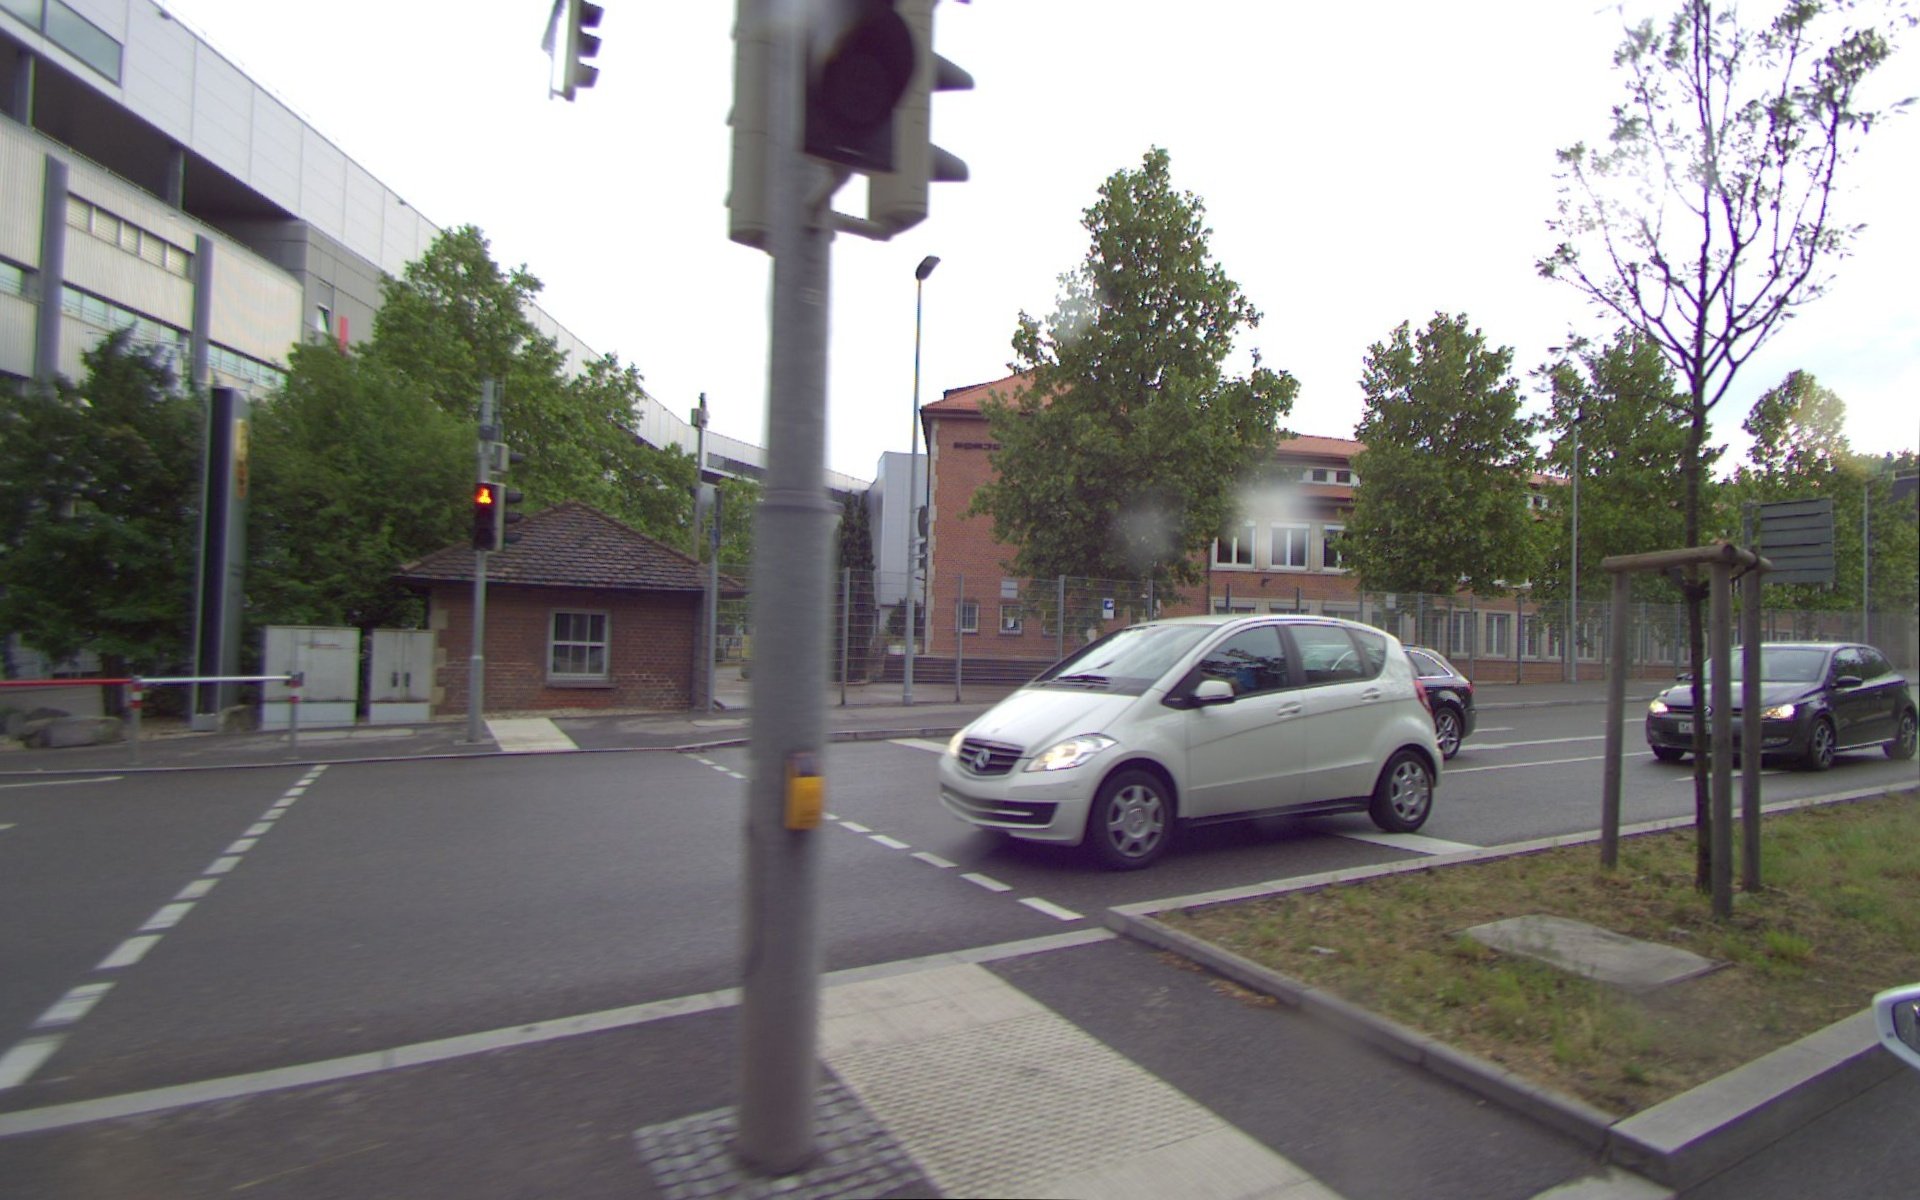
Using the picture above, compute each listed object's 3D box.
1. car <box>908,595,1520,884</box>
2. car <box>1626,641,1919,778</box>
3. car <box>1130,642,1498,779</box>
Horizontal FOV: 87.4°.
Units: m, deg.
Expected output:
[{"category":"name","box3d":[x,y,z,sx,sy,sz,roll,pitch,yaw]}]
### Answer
[{"category":"car","box3d":[1.982,0.880,7.488,4.430,1.610,1.764,2,-3,-29]},{"category":"car","box3d":[10.010,1.221,12.206,4.063,1.422,1.570,2,-3,-30]},{"category":"car","box3d":[4.423,1.236,12.373,4.560,1.422,1.765,2,-3,-30]}]
